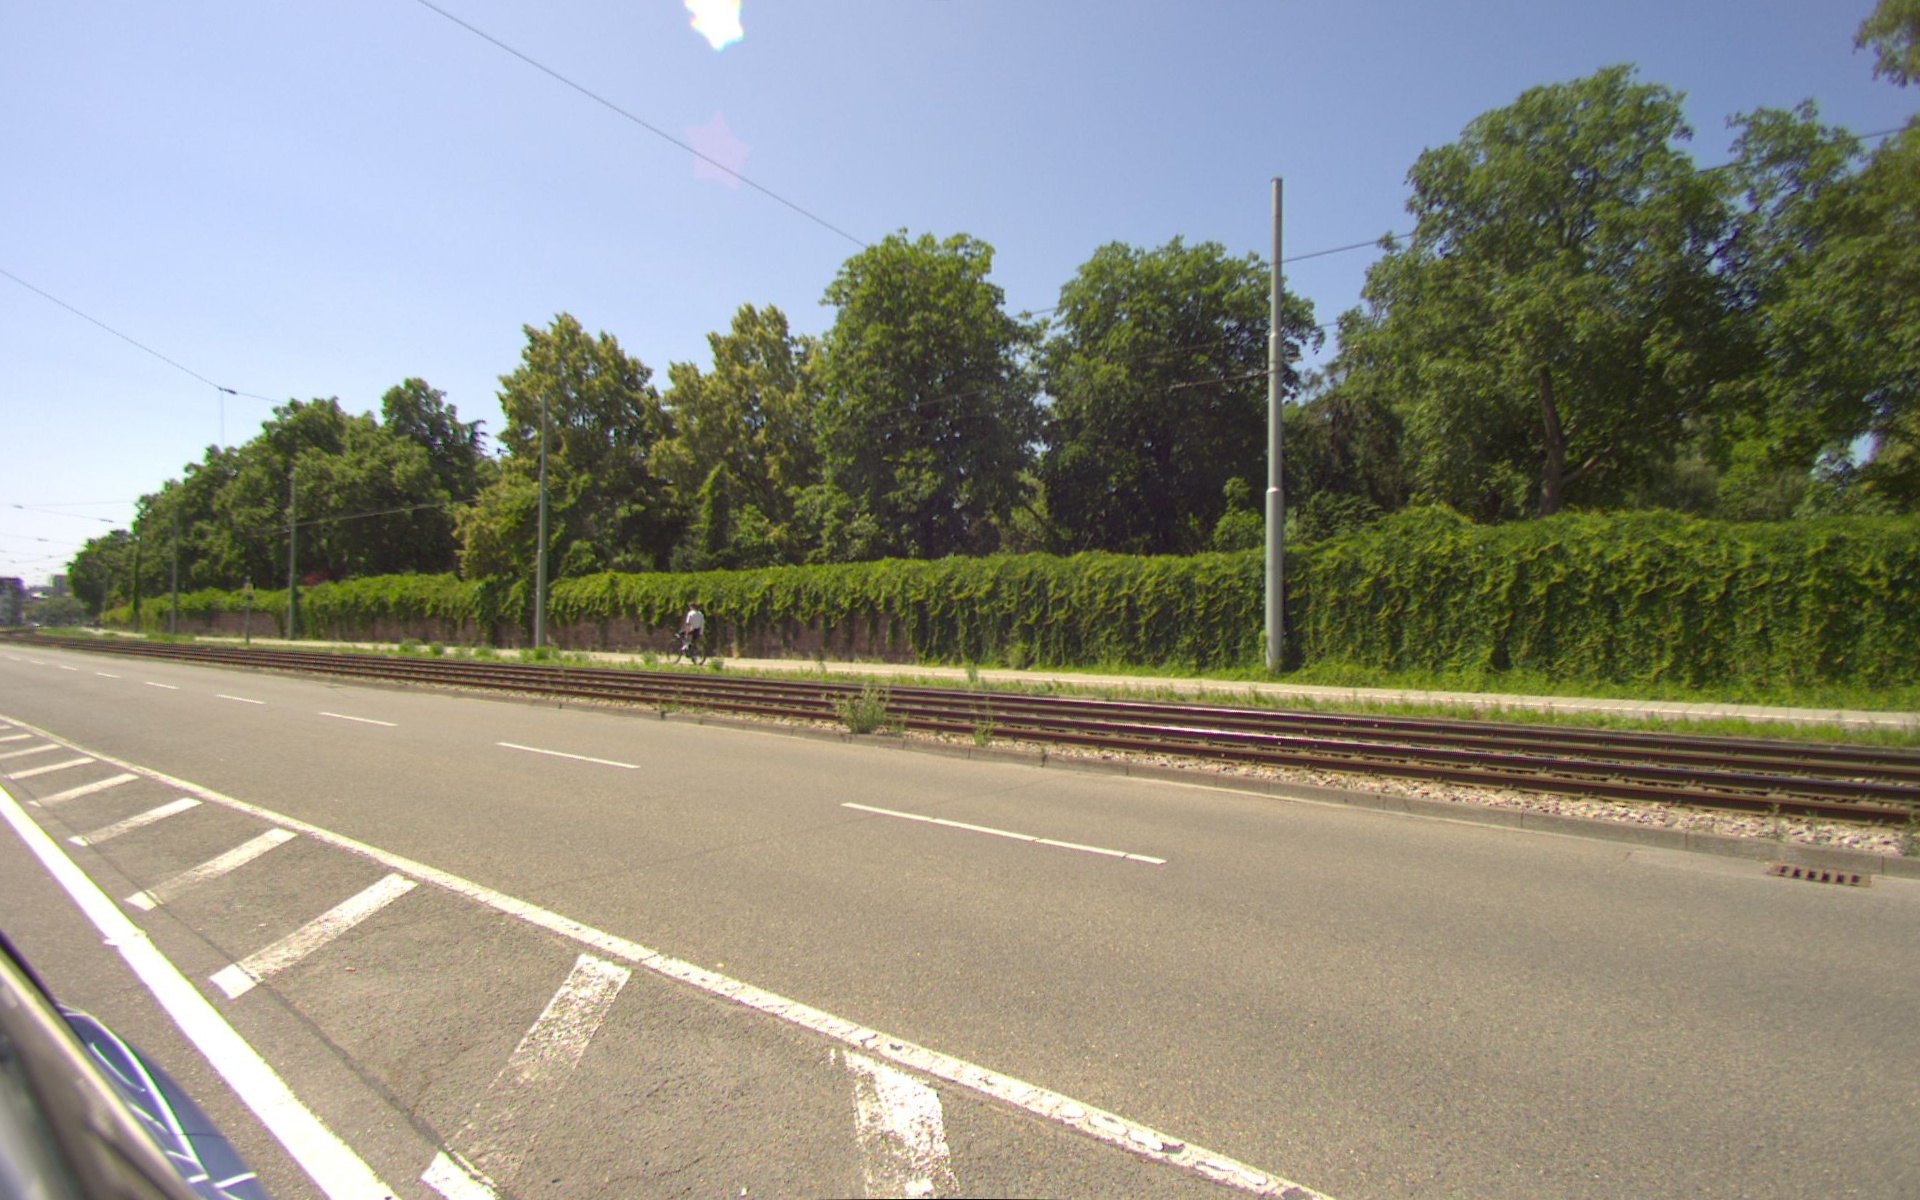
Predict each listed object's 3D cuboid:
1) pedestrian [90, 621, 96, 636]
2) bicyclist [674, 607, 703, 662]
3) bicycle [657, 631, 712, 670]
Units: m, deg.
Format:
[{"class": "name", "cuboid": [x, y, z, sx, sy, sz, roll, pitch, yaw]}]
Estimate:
[{"class": "pedestrian", "cuboid": [-97.642, 3.234, 114.005, 0.302, 1.677, 0.447, -2, -1, 41]}, {"class": "bicyclist", "cuboid": [-8.039, 1.013, 29.966, 0.768, 1.624, 0.477, -1, 0, 41]}, {"class": "bicycle", "cuboid": [-8.221, 1.487, 30.152, 1.977, 1.063, 0.610, -1, 0, 42]}]
